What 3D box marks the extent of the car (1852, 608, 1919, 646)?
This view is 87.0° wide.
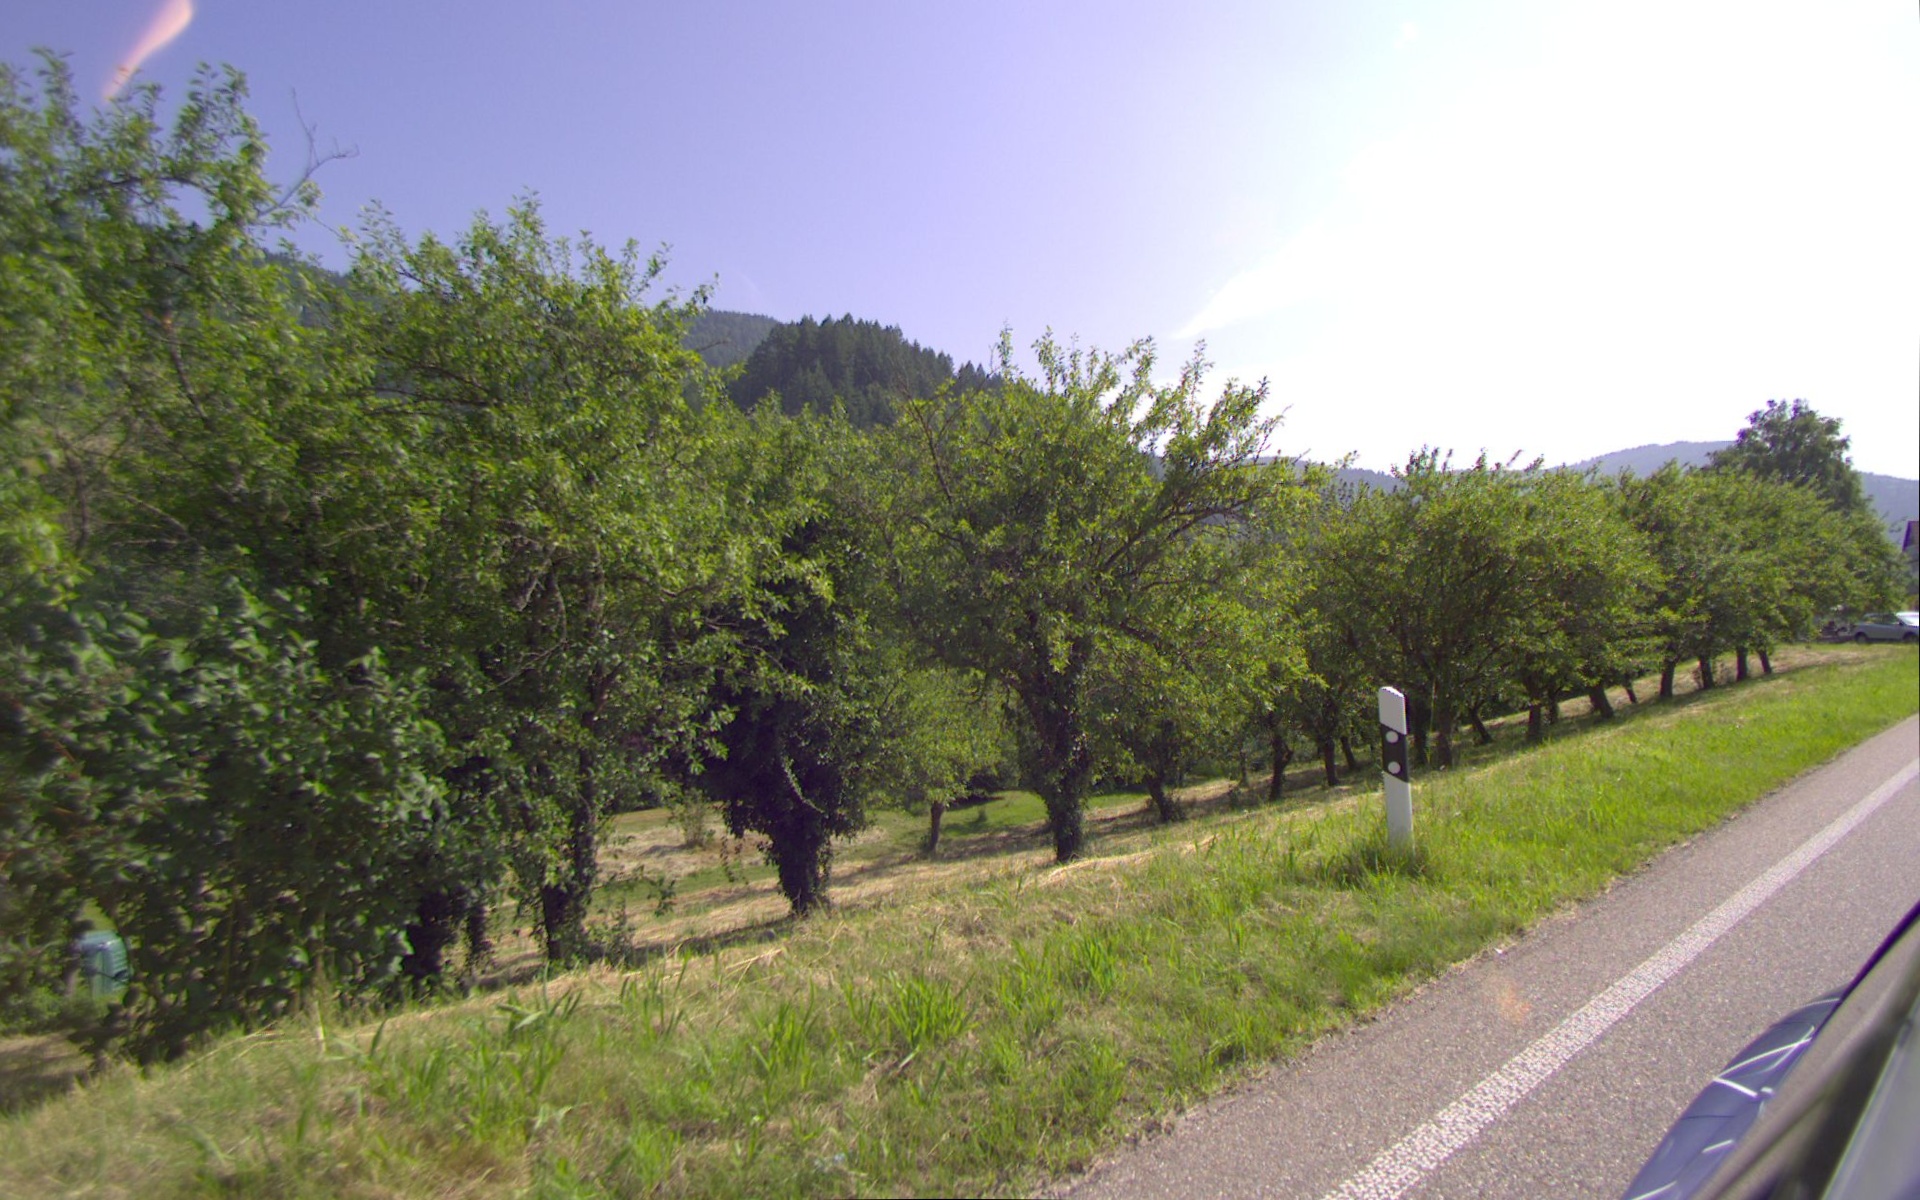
[{"bbox_3d":[41.348,1.159,43.643,1.871,1.591,4.455,-1,-3,4],"label":"car"}]
